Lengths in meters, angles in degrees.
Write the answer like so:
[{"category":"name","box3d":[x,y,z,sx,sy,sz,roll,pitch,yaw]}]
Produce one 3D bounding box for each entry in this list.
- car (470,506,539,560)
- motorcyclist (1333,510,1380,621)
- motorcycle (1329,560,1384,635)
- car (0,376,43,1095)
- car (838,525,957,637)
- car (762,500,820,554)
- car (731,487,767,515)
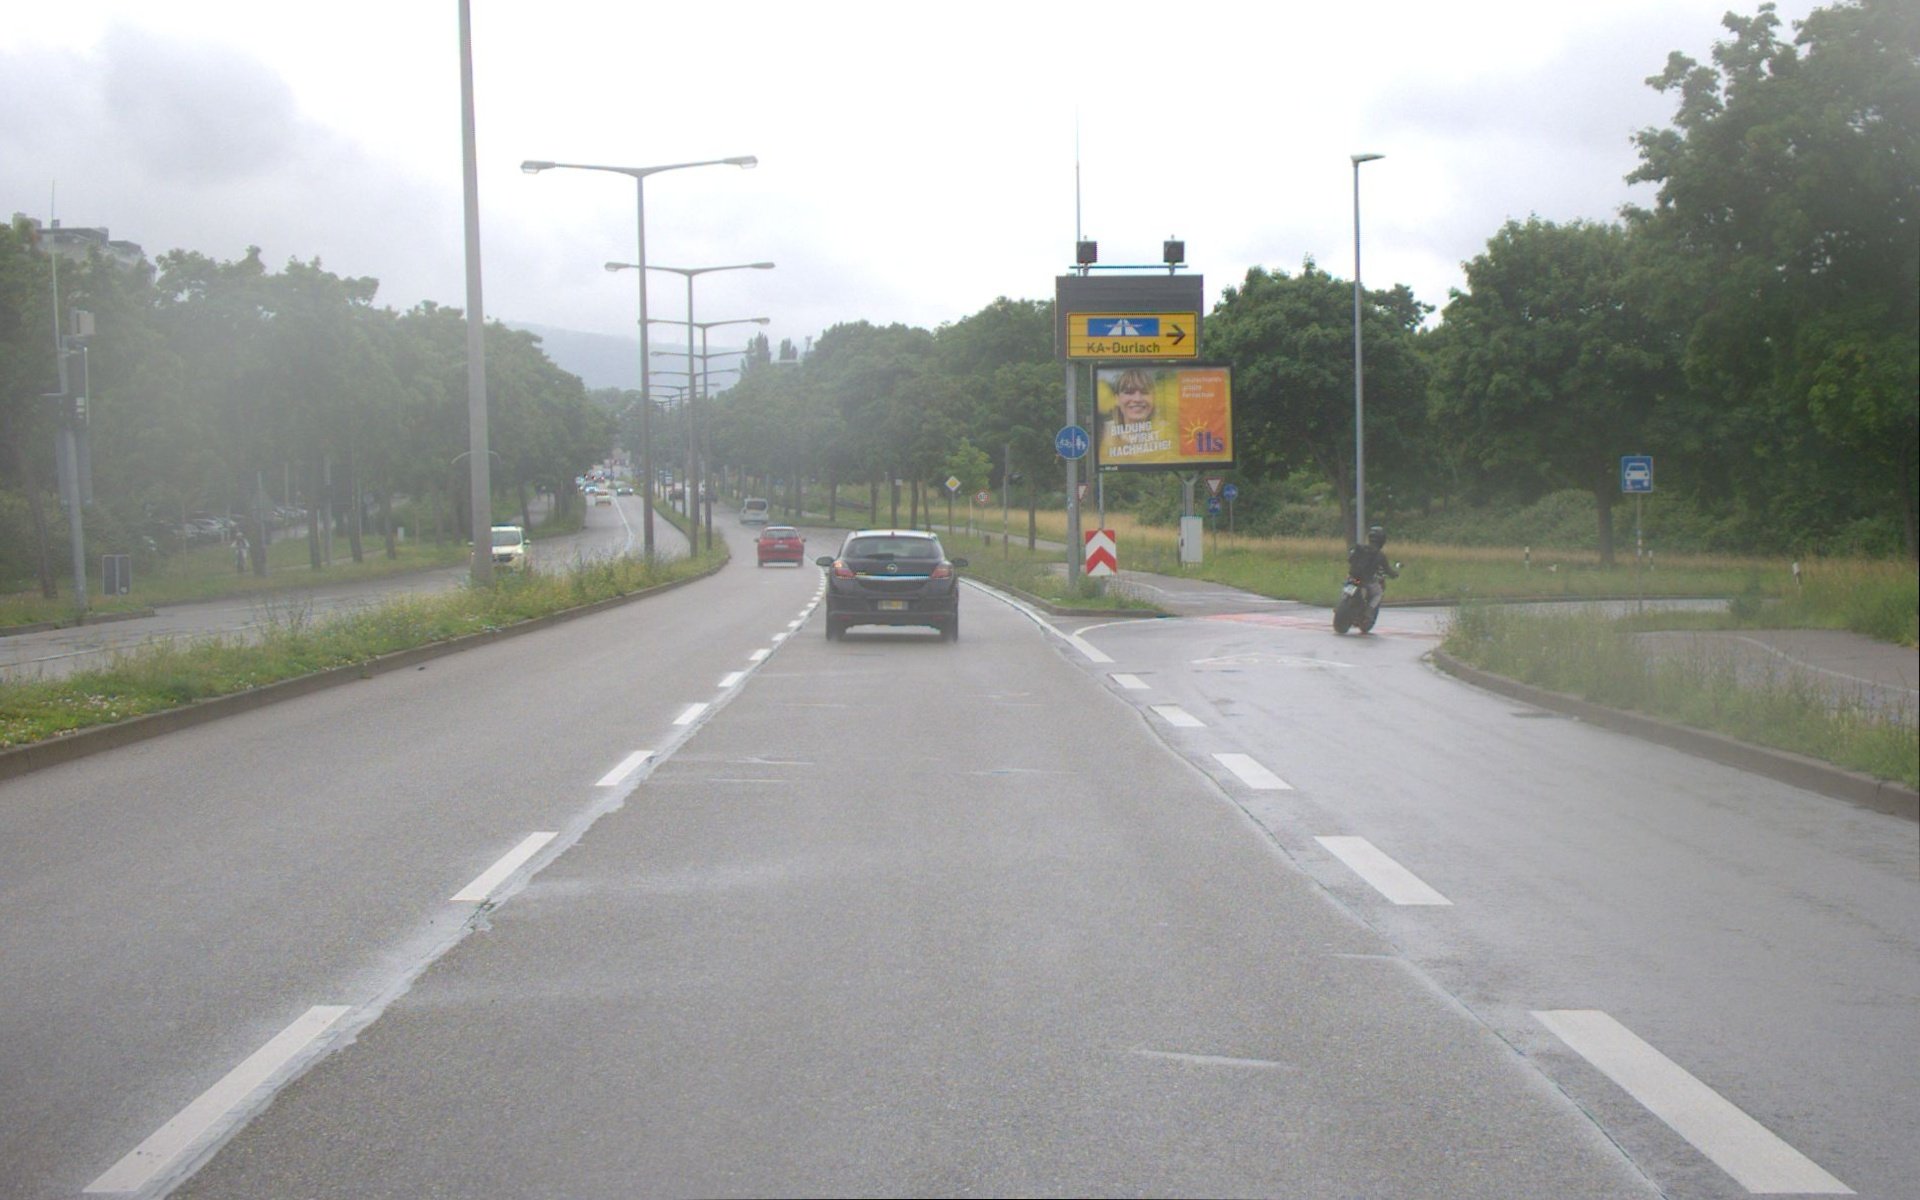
[{"category":"car","box3d":[-14.682,-2.192,110.913,1.707,1.624,4.493,-3,2,-2]},{"category":"motorcyclist","box3d":[6.100,-0.542,52.871,0.601,1.684,0.860,1,2,14]},{"category":"motorcycle","box3d":[6.108,-0.053,52.907,0.601,1.089,1.731,1,2,14]},{"category":"car","box3d":[-3.510,0.414,7.621,1.734,2.012,4.850,0,1,-1]},{"category":"car","box3d":[-0.845,-0.274,44.511,1.463,1.324,3.758,0,2,-2]},{"category":"car","box3d":[-6.029,-2.614,122.769,1.993,1.873,4.001,0,1,-2]},{"category":"car","box3d":[-15.779,-7.369,256.766,2.515,2.045,5.294,-1,1,-5]}]
